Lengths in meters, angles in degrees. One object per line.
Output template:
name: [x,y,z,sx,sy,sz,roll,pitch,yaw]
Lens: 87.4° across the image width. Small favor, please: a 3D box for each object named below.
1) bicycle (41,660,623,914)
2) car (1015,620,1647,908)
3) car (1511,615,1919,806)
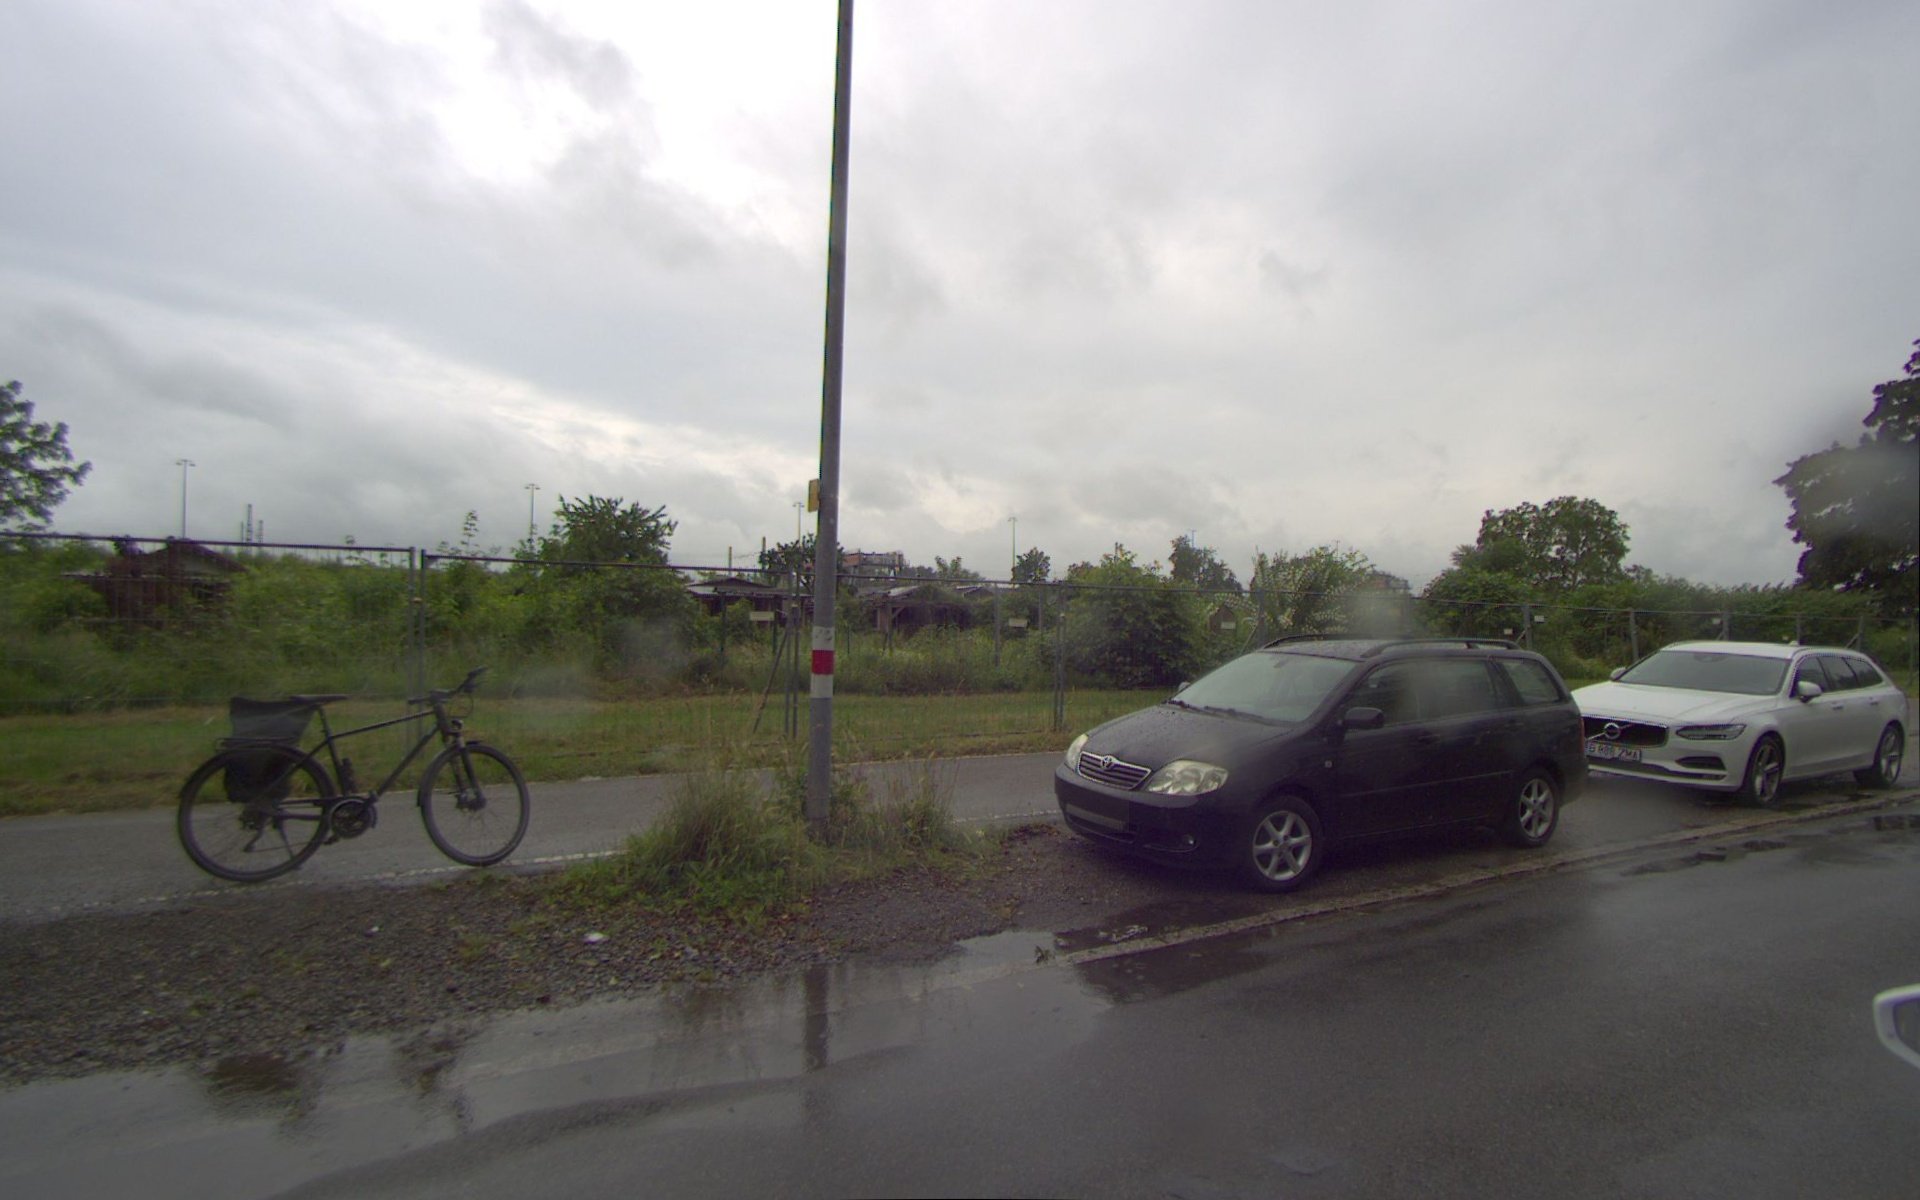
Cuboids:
bicycle: [-3.296,0.947,5.626,2.640,1.166,0.694,1,1,-21]
car: [2.907,1.000,7.526,4.770,1.523,1.765,2,1,-30]
car: [8.278,1.036,10.732,5.051,1.546,1.877,2,1,-31]
